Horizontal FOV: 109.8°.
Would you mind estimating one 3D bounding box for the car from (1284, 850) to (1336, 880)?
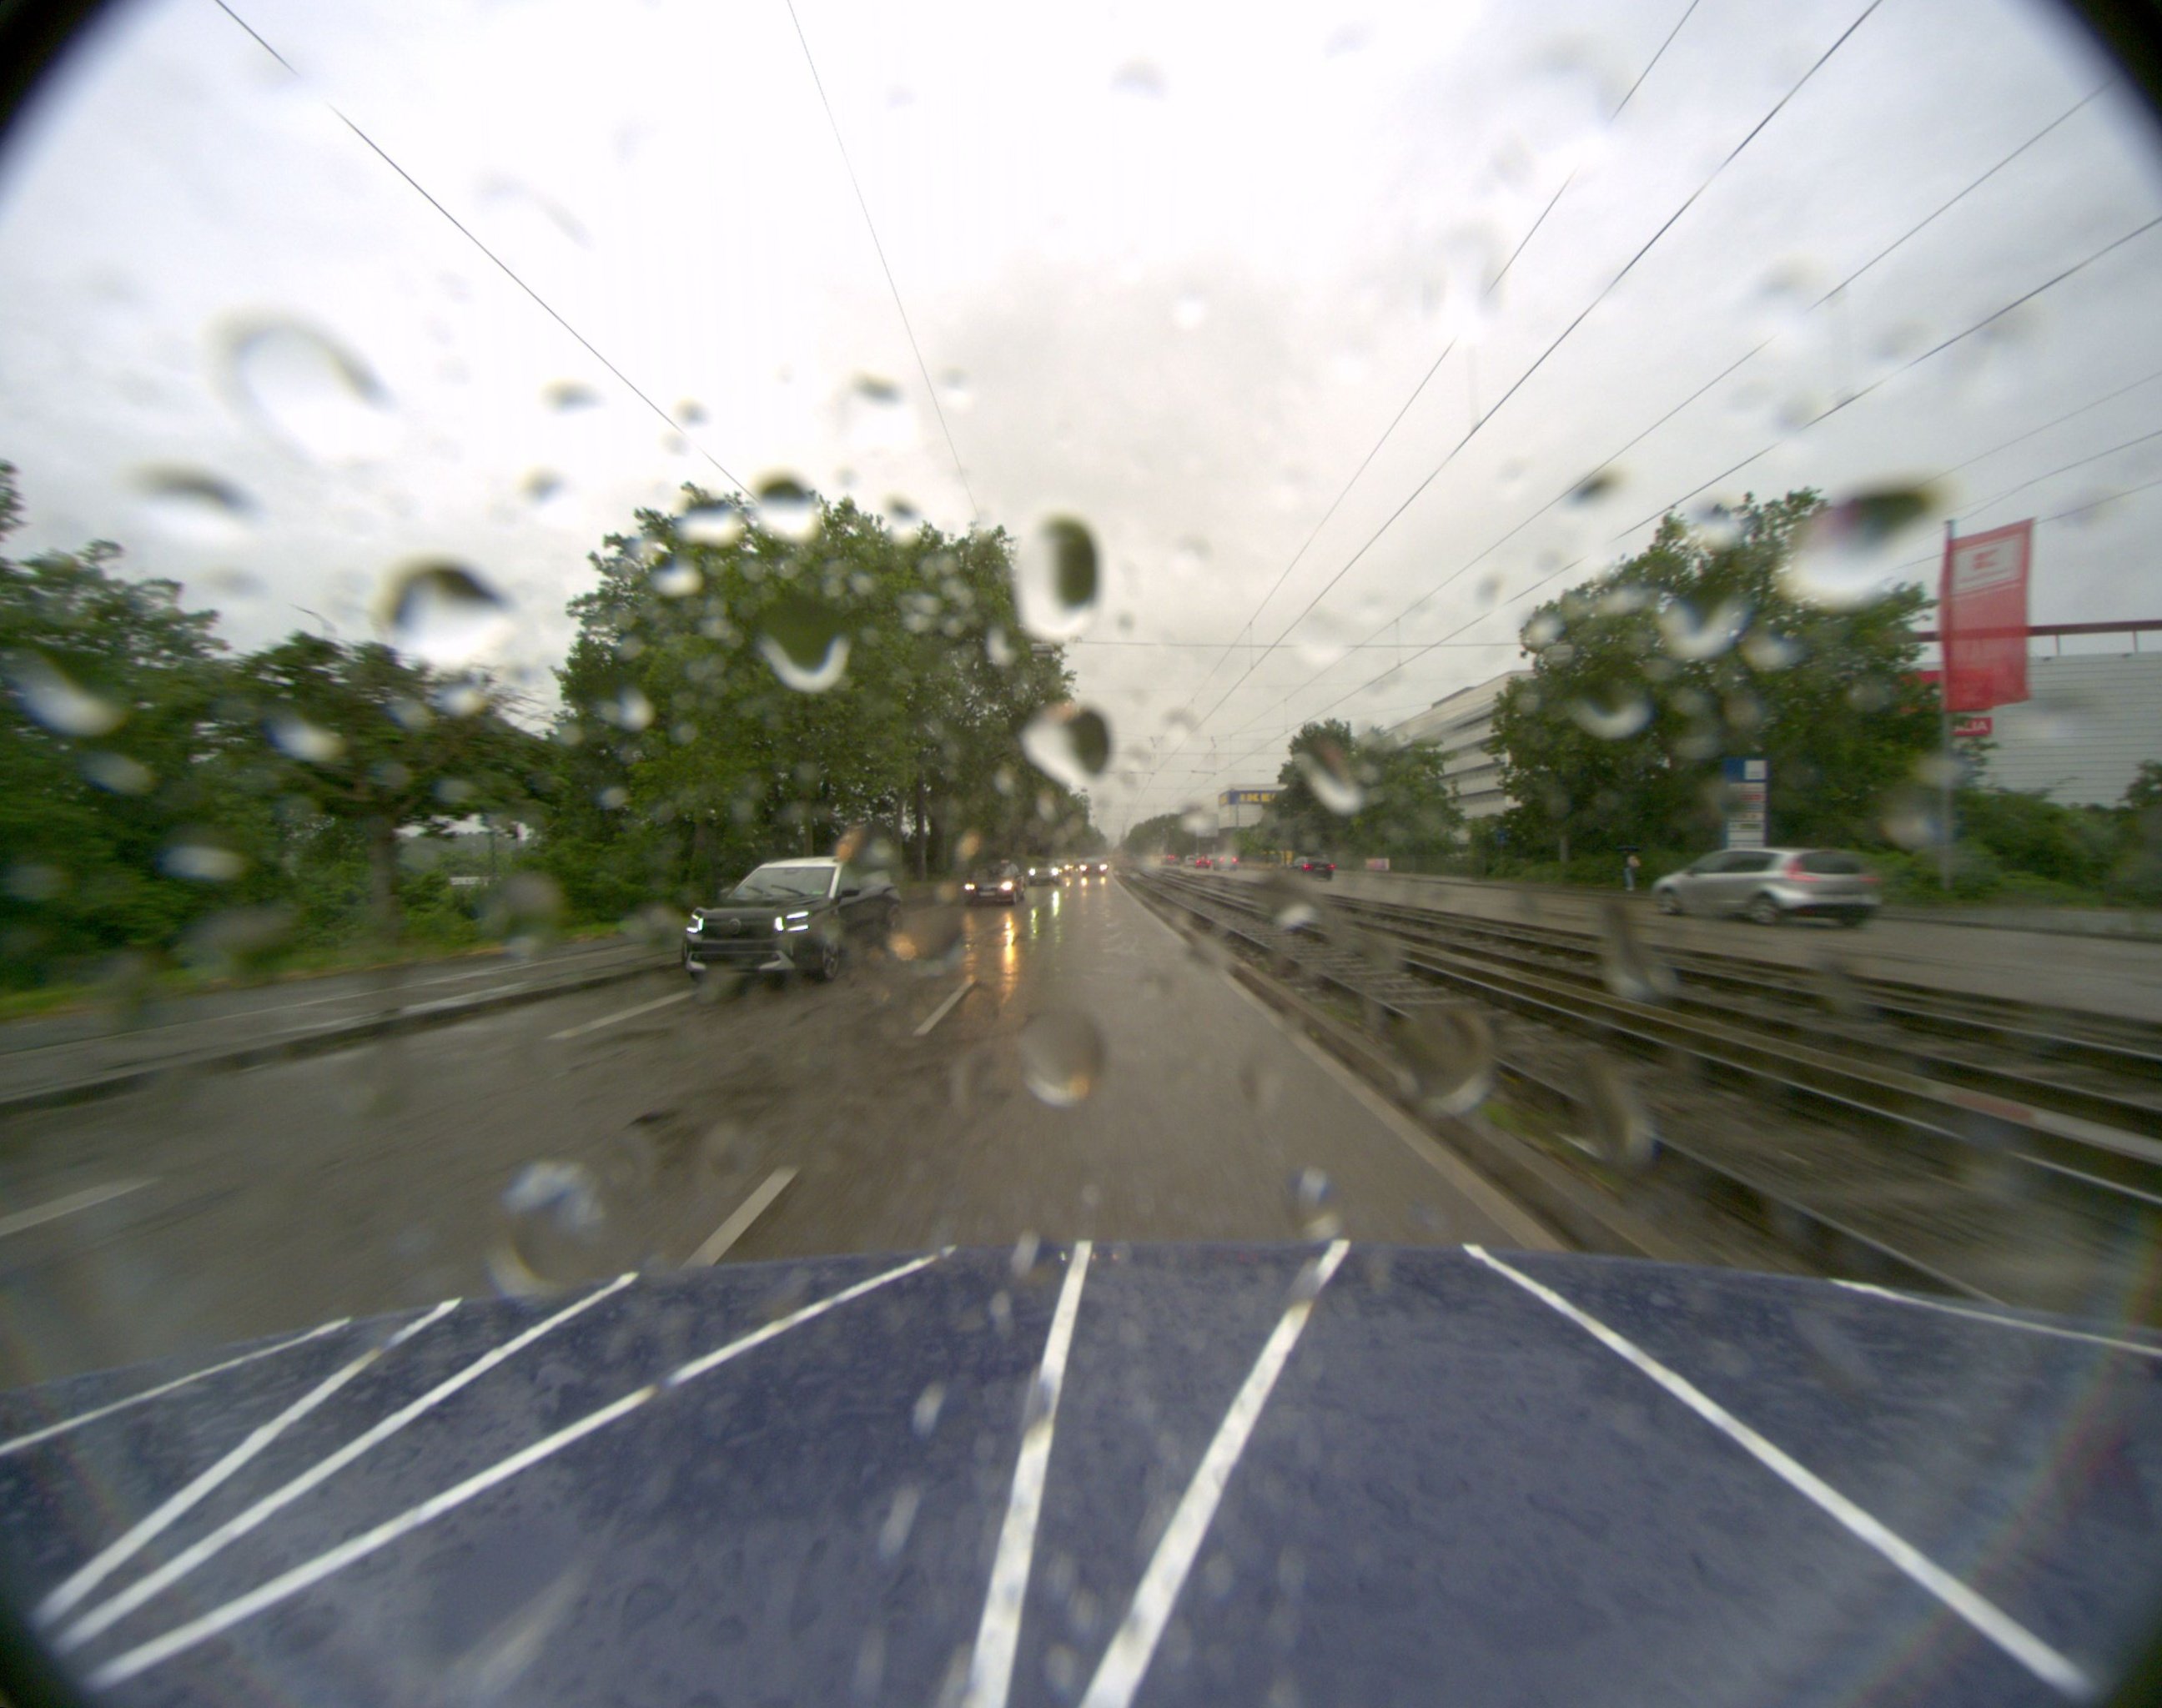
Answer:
[{"bbox_3d":[13.623,0.656,45.498,1.892,1.632,4.398,-2,-1,2],"label":"car"}]

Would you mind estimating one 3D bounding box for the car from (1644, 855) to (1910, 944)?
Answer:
[{"bbox_3d":[14.914,0.894,16.702,1.892,1.632,4.348,-2,-1,2],"label":"car"}]

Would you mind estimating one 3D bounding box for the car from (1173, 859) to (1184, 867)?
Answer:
[{"bbox_3d":[19.445,1.720,151.484,1.708,1.536,4.001,0,-1,2],"label":"car"}]

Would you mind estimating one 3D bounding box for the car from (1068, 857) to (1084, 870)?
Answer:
[{"bbox_3d":[-0.566,1.182,93.792,1.846,1.572,3.838,-2,-1,0],"label":"car"}]

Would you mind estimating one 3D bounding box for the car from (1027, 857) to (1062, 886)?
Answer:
[{"bbox_3d":[-2.058,1.004,44.063,1.807,1.521,3.645,-2,-1,0],"label":"car"}]

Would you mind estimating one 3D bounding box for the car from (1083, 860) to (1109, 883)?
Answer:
[{"bbox_3d":[1.167,1.289,57.515,1.815,1.692,4.001,-1,-1,2],"label":"car"}]

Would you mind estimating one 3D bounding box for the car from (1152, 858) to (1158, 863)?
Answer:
[{"bbox_3d":[22.100,1.947,227.437,1.569,1.525,4.002,0,-1,4],"label":"car"}]

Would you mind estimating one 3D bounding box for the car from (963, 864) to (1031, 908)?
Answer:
[{"bbox_3d":[-2.855,1.066,26.676,1.784,1.419,4.001,-1,-1,2],"label":"car"}]

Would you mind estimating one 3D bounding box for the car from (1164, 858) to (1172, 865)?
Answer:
[{"bbox_3d":[19.545,1.615,170.237,1.648,1.536,4.002,0,-1,4],"label":"car"}]

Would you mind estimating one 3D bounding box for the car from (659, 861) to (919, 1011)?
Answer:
[{"bbox_3d":[-3.894,0.978,11.178,1.797,1.692,4.764,-2,-1,2],"label":"car"}]

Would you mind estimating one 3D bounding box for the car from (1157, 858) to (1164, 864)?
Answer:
[{"bbox_3d":[21.501,1.782,205.299,1.569,1.536,4.002,-1,-1,5],"label":"car"}]

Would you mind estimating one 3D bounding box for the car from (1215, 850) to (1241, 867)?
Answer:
[{"bbox_3d":[15.160,0.487,78.703,1.942,1.642,4.872,0,-1,2],"label":"car"}]

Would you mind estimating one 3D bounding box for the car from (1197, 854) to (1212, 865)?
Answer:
[{"bbox_3d":[16.166,0.746,99.495,1.707,1.445,4.002,0,-1,5],"label":"car"}]

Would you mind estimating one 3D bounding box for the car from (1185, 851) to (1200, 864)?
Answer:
[{"bbox_3d":[17.343,0.574,118.118,1.845,1.898,4.001,0,-1,2],"label":"car"}]
